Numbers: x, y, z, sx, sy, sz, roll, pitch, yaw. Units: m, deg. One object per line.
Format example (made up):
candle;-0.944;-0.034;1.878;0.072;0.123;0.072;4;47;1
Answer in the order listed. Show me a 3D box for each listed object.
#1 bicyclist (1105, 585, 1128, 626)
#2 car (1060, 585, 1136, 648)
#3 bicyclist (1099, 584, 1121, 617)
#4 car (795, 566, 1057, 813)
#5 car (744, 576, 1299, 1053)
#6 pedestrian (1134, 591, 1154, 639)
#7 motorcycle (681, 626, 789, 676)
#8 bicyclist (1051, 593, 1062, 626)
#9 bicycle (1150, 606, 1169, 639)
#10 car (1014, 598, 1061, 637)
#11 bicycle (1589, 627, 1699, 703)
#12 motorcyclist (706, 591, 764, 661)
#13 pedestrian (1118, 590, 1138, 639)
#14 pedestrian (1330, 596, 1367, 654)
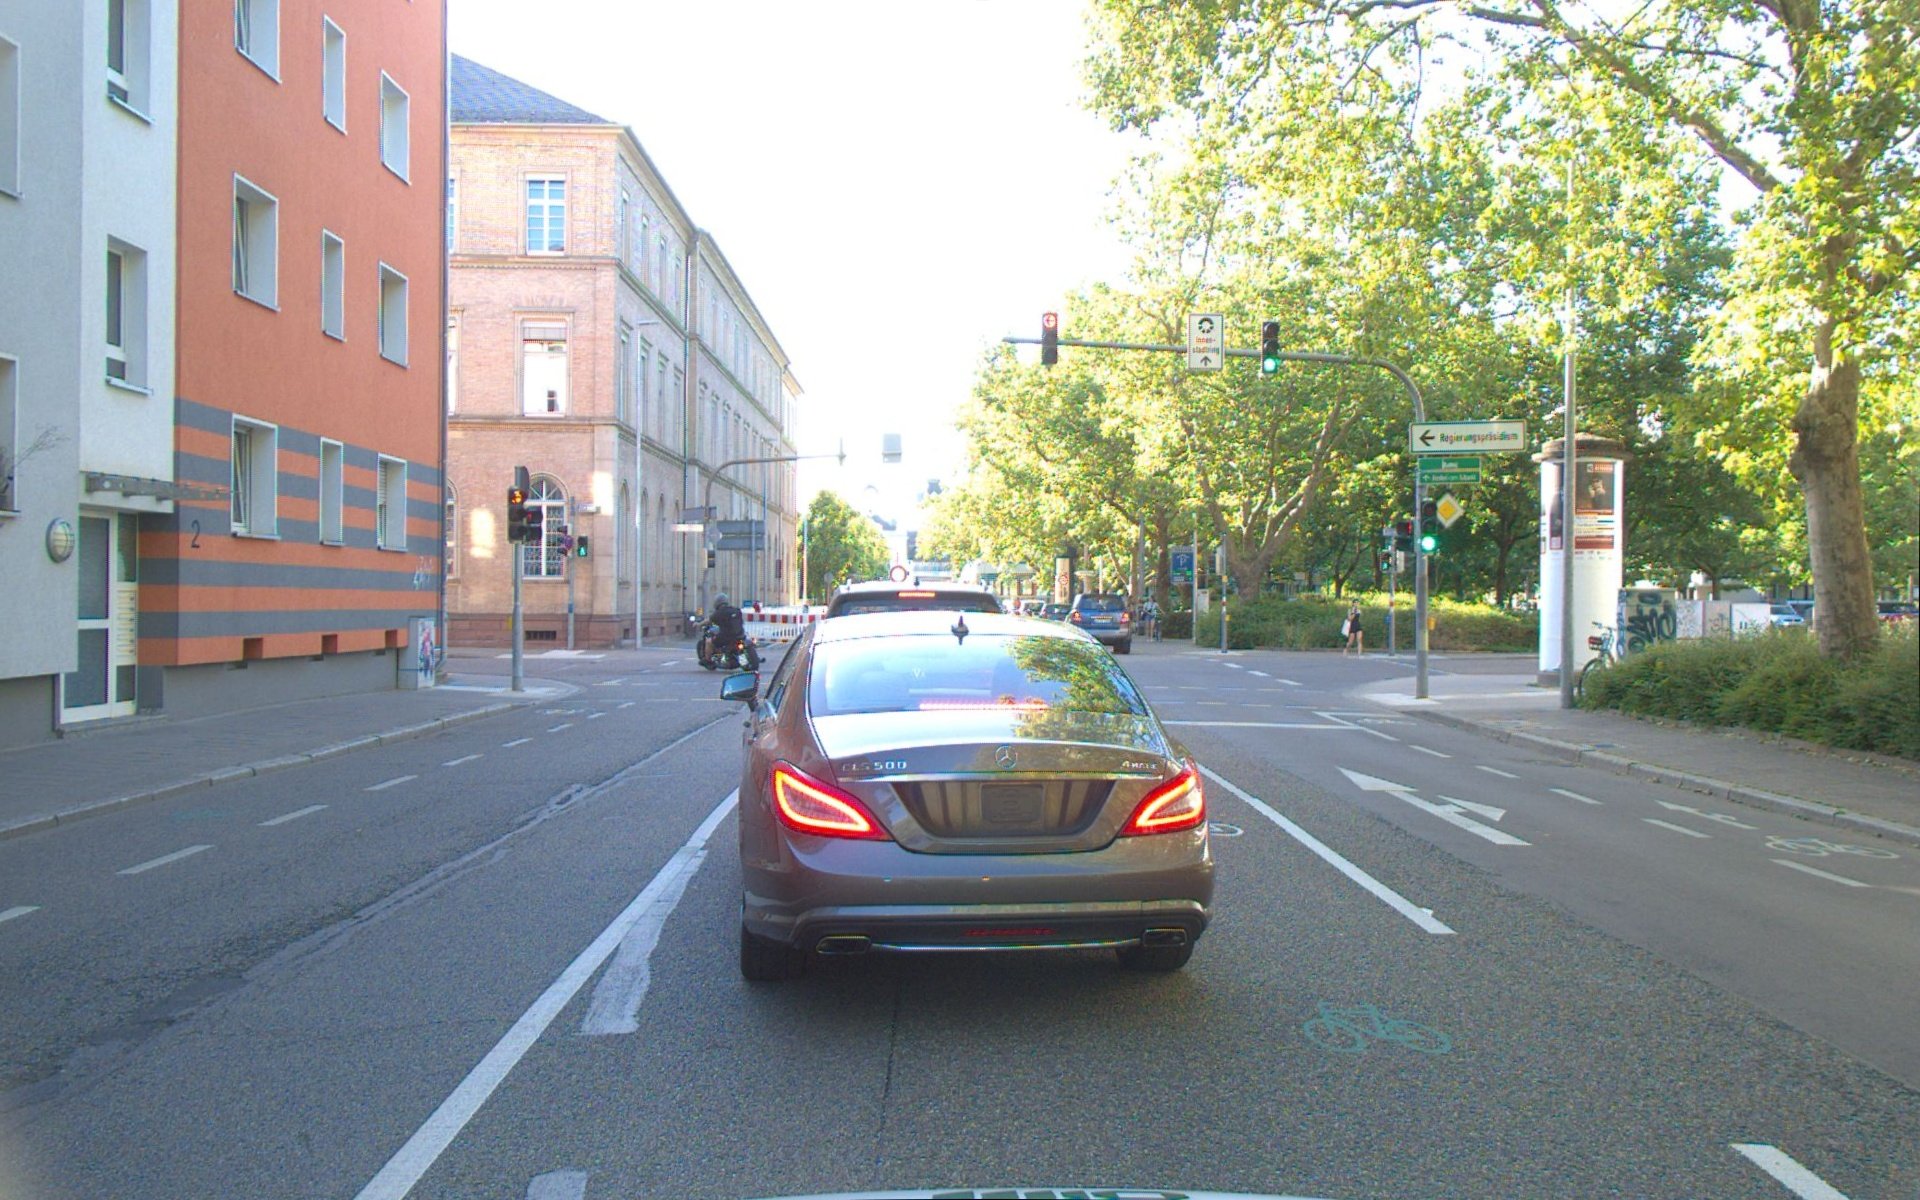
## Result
bicyclist;6.411;0.238;67.769;0.808;1.646;0.957;1;0;-1
car;4.082;0.469;49.590;1.823;1.794;4.481;1;0;-1
bicyclist;6.483;0.025;71.284;0.719;1.422;0.697;1;-1;28
car;-0.265;0.626;13.609;1.823;1.712;3.999;1;0;-1
car;-0.029;0.696;7.481;1.826;1.545;3.993;1;0;-8
pedestrian;6.968;0.570;62.661;0.623;1.791;0.698;1;-1;-5
motorcycle;-4.349;0.970;31.992;2.014;0.908;0.754;1;0;29
bicyclist;6.131;0.608;105.094;0.583;2.075;0.565;1;-1;-5
bicycle;7.555;0.857;62.617;0.472;1.223;1.606;1;0;-1
car;3.179;0.693;68.613;1.670;1.545;3.999;1;0;-1
bicycle;9.876;0.926;23.854;1.868;1.046;0.633;1;-1;-39
motorcyclist;-4.349;0.496;31.999;0.785;1.317;0.788;1;-1;28
pedestrian;6.347;0.543;62.616;0.623;1.828;0.698;1;-1;-5
pedestrian;10.743;0.689;45.714;0.625;1.572;0.907;1;-1;-15
